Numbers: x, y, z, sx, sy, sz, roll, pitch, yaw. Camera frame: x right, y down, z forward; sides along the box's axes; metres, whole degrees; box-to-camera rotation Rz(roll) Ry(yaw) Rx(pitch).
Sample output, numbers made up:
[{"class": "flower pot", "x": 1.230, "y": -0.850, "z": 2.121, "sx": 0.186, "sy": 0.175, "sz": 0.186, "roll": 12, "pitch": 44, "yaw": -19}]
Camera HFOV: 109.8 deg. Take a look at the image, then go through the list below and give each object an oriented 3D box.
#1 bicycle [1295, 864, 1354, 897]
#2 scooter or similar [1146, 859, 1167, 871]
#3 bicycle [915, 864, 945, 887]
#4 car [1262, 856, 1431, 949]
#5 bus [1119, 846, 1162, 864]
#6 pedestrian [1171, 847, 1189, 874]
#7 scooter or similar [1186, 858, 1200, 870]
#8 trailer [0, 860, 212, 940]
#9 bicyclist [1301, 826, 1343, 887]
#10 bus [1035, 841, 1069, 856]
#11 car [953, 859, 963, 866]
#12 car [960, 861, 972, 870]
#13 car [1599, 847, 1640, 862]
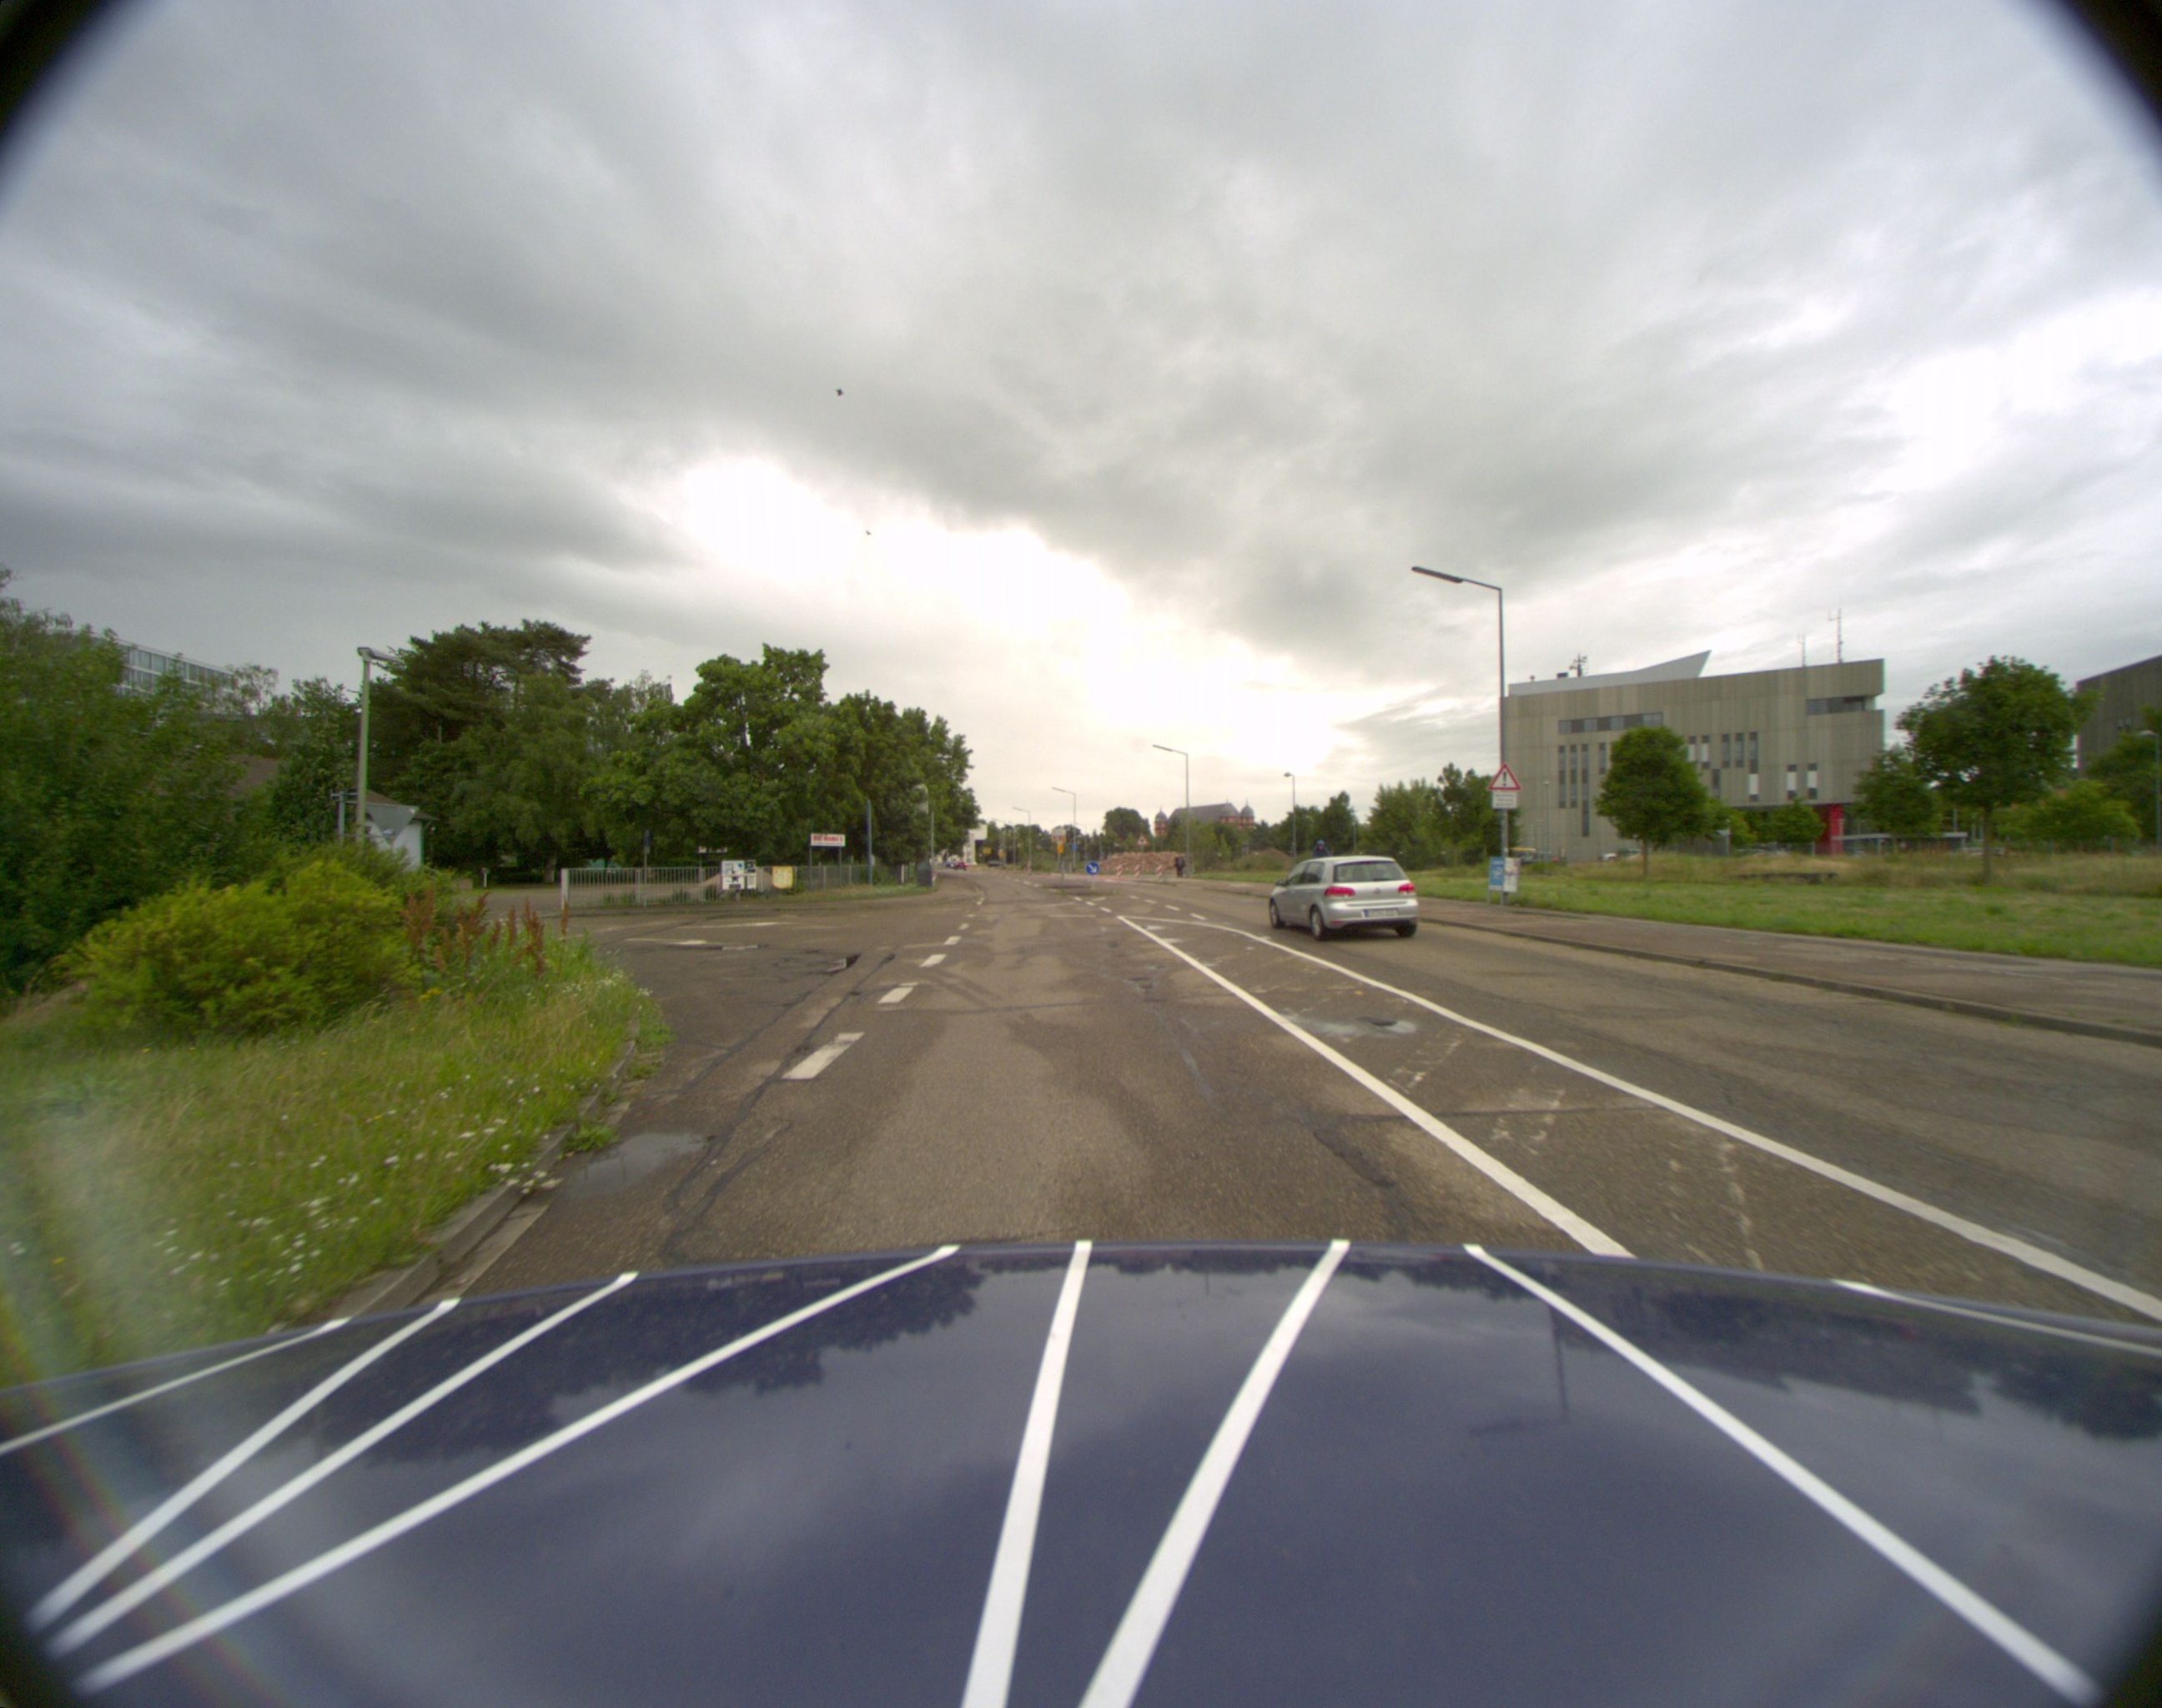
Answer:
[{"class": "bicycle", "x": 8.160, "y": 0.882, "z": 25.568, "sx": 0.886, "sy": 1.046, "sz": 2.467, "roll": -1, "pitch": -1, "yaw": -8}, {"class": "scooter or similar", "x": 7.265, "y": 1.093, "z": 72.855, "sx": 1.898, "sy": 1.135, "sz": 0.658, "roll": -1, "pitch": 1, "yaw": 33}, {"class": "bicycle", "x": -7.561, "y": 1.046, "z": 38.133, "sx": 0.797, "sy": 1.104, "sz": 1.954, "roll": -1, "pitch": 0, "yaw": 11}, {"class": "car", "x": 4.847, "y": 0.810, "z": 14.509, "sx": 1.676, "sy": 1.453, "sz": 4.056, "roll": -3, "pitch": 0, "yaw": -1}, {"class": "bus", "x": 13.936, "y": 0.284, "z": 178.497, "sx": 9.863, "sy": 3.958, "sz": 2.740, "roll": -1, "pitch": -1, "yaw": 33}, {"class": "pedestrian", "x": 6.627, "y": 0.434, "z": 50.777, "sx": 0.847, "sy": 1.772, "sz": 1.076, "roll": -1, "pitch": -1, "yaw": -12}, {"class": "scooter or similar", "x": 10.761, "y": 0.981, "z": 73.015, "sx": 1.335, "sy": 1.136, "sz": 0.412, "roll": -1, "pitch": 1, "yaw": 18}, {"class": "trailer", "x": -26.639, "y": 1.203, "z": 20.506, "sx": 4.001, "sy": 2.001, "sz": 1.642, "roll": 0, "pitch": -1, "yaw": -13}, {"class": "bicyclist", "x": 8.131, "y": 0.090, "z": 25.677, "sx": 0.864, "sy": 2.001, "sz": 1.176, "roll": -1, "pitch": -1, "yaw": -9}, {"class": "bus", "x": -7.401, "y": -1.287, "z": 192.127, "sx": 8.376, "sy": 3.626, "sz": 2.740, "roll": -1, "pitch": -1, "yaw": 30}, {"class": "car", "x": -26.413, "y": 1.817, "z": 162.585, "sx": 1.757, "sy": 1.578, "sz": 3.897, "roll": 2, "pitch": -1, "yaw": -13}, {"class": "car", "x": -19.651, "y": 2.005, "z": 129.741, "sx": 1.887, "sy": 1.557, "sz": 4.354, "roll": 0, "pitch": -1, "yaw": -11}, {"class": "car", "x": 66.708, "y": 0.079, "z": 94.177, "sx": 3.878, "sy": 1.751, "sz": 1.731, "roll": -1, "pitch": 0, "yaw": 29}]
